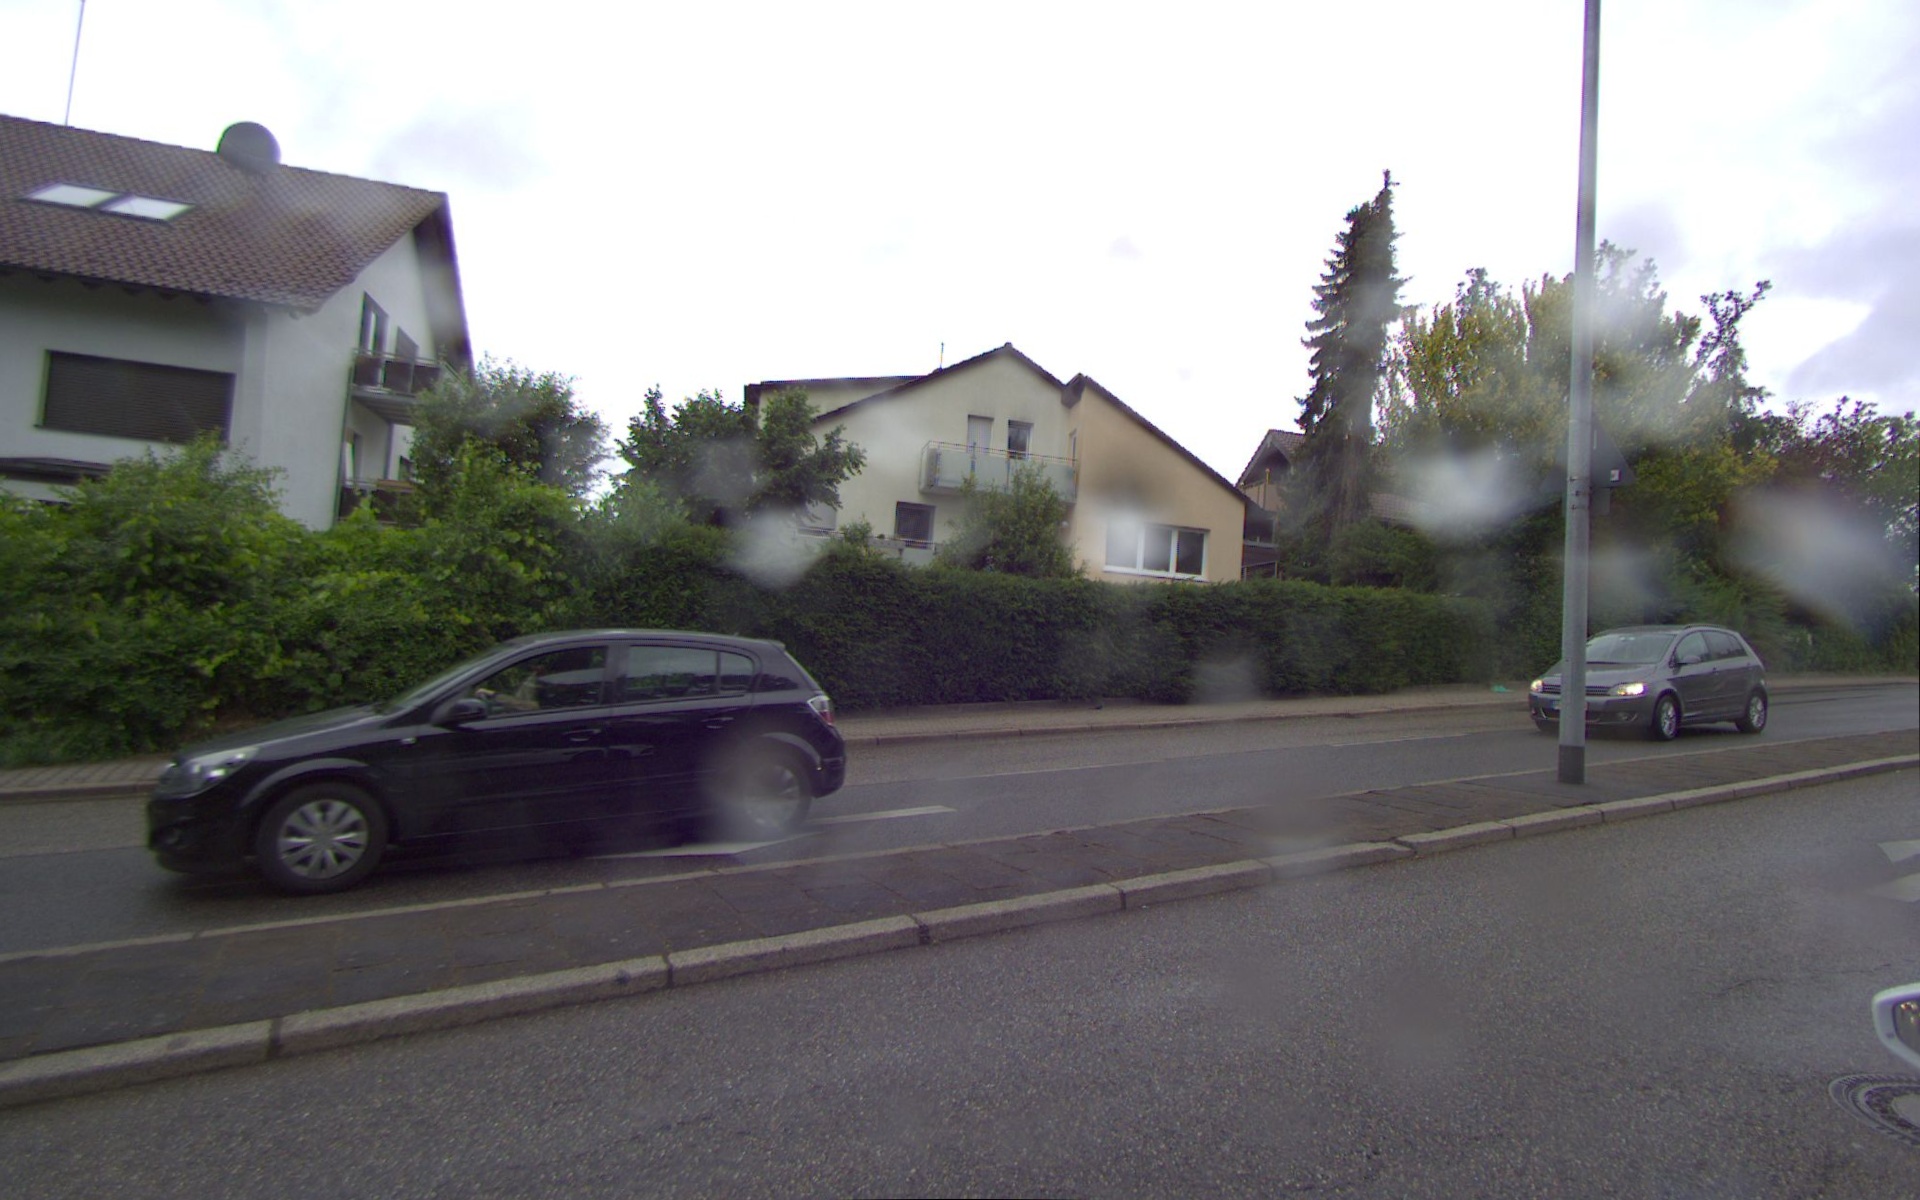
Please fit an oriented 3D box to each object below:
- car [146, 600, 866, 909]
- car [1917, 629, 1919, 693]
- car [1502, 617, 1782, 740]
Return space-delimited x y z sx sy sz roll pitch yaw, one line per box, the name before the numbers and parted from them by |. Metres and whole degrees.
car | -2.829 0.847 6.848 3.955 1.529 1.886 2 -3 -32
car | 11.044 1.066 9.424 4.280 1.547 1.983 2 -4 -32
car | 10.157 1.108 14.930 3.980 1.623 1.736 1 -3 -27
